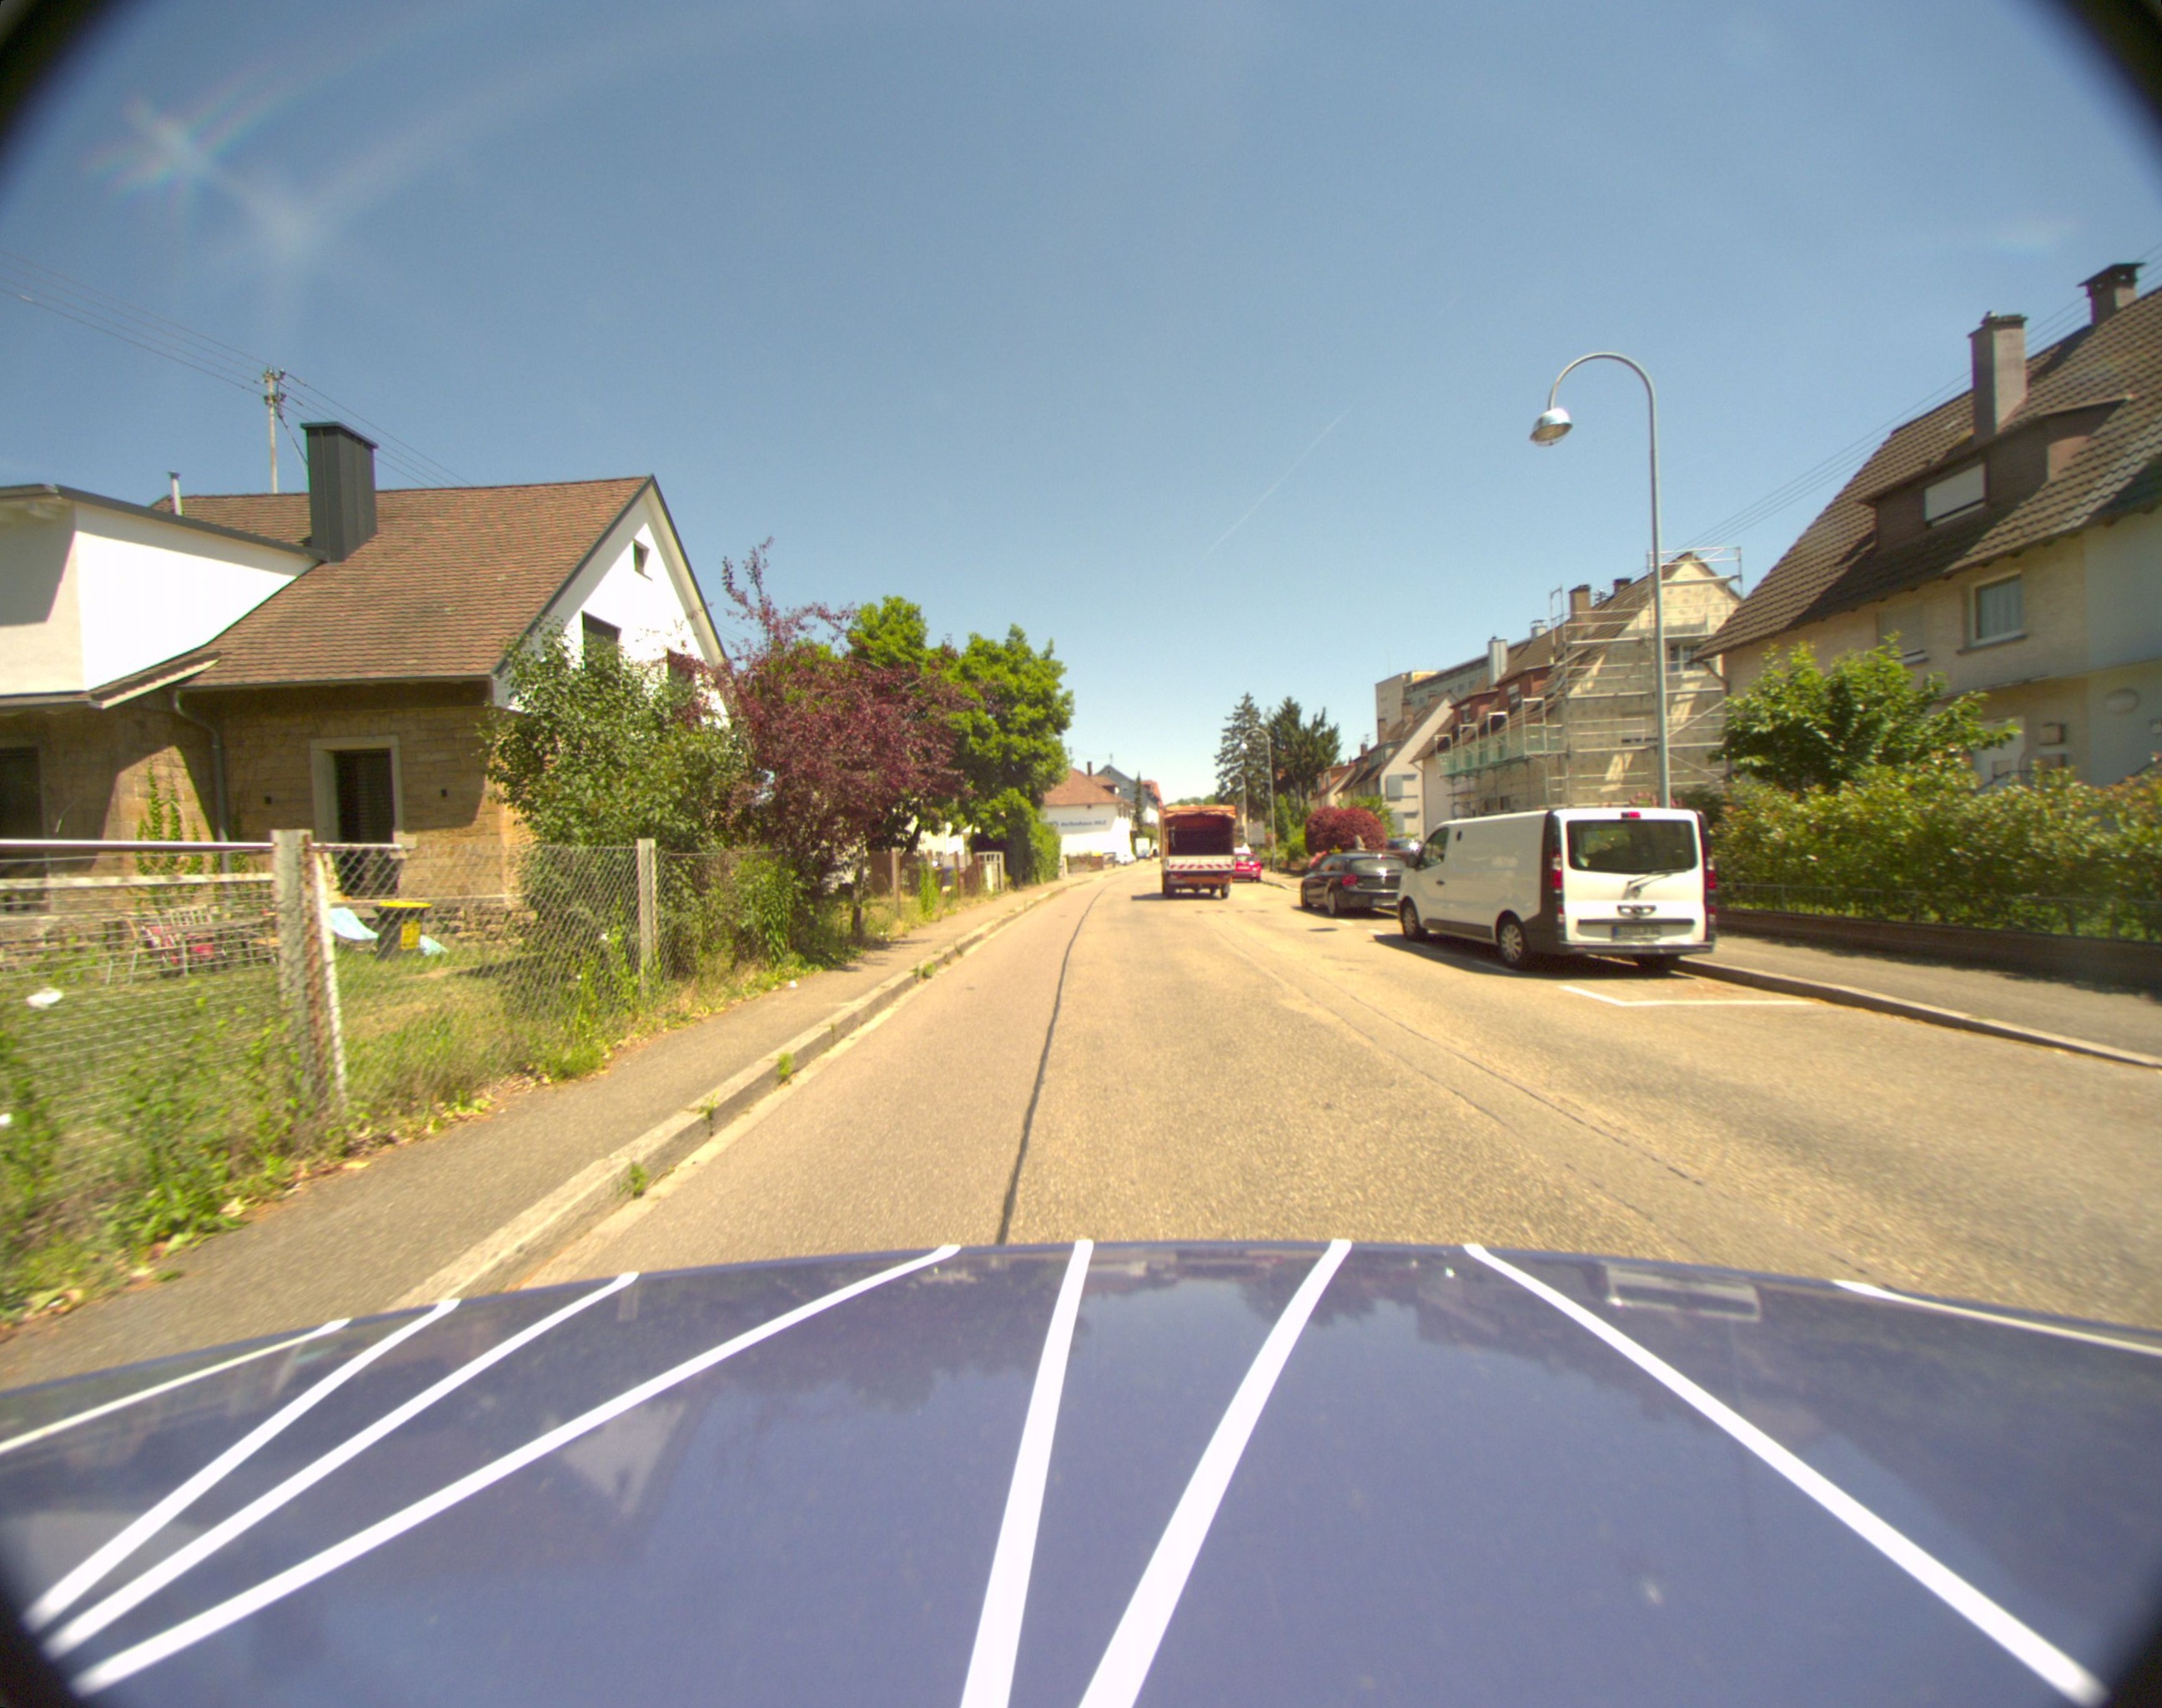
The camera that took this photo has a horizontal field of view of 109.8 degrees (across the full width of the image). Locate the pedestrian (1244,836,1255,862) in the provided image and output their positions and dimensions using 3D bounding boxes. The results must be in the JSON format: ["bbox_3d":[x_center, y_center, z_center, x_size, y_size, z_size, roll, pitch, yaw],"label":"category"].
[{"bbox_3d":[13.232,-0.400,59.650,0.690,1.878,1.019,-7,1,13],"label":"pedestrian"}]

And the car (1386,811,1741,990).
[{"bbox_3d":[6.146,0.485,10.590,1.891,1.870,4.981,-1,0,2],"label":"car"}]

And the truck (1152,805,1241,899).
[{"bbox_3d":[3.783,-0.074,25.915,2.379,2.813,5.659,-1,1,3],"label":"truck"}]

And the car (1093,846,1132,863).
[{"bbox_3d":[3.622,0.076,87.480,4.293,1.539,1.759,-4,2,43],"label":"car"}]

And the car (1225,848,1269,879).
[{"bbox_3d":[8.226,0.431,37.984,1.764,1.469,4.060,0,1,7],"label":"car"}]

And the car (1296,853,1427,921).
[{"bbox_3d":[6.406,0.686,17.836,1.702,1.376,4.236,0,0,3],"label":"car"}]

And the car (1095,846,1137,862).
[{"bbox_3d":[4.162,0.011,90.375,4.648,1.400,1.770,-5,0,13],"label":"car"}]

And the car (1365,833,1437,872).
[{"bbox_3d":[14.301,-0.080,34.210,1.689,1.505,4.001,-6,0,5],"label":"car"}]

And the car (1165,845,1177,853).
[{"bbox_3d":[16.795,-0.987,142.168,1.760,1.505,3.744,1,2,13],"label":"car"}]

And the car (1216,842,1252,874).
[{"bbox_3d":[8.665,0.179,43.194,1.726,1.726,3.889,0,1,7],"label":"car"}]

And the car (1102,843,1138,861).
[{"bbox_3d":[4.767,-0.278,92.862,4.300,1.820,1.739,-5,0,3],"label":"car"}]
